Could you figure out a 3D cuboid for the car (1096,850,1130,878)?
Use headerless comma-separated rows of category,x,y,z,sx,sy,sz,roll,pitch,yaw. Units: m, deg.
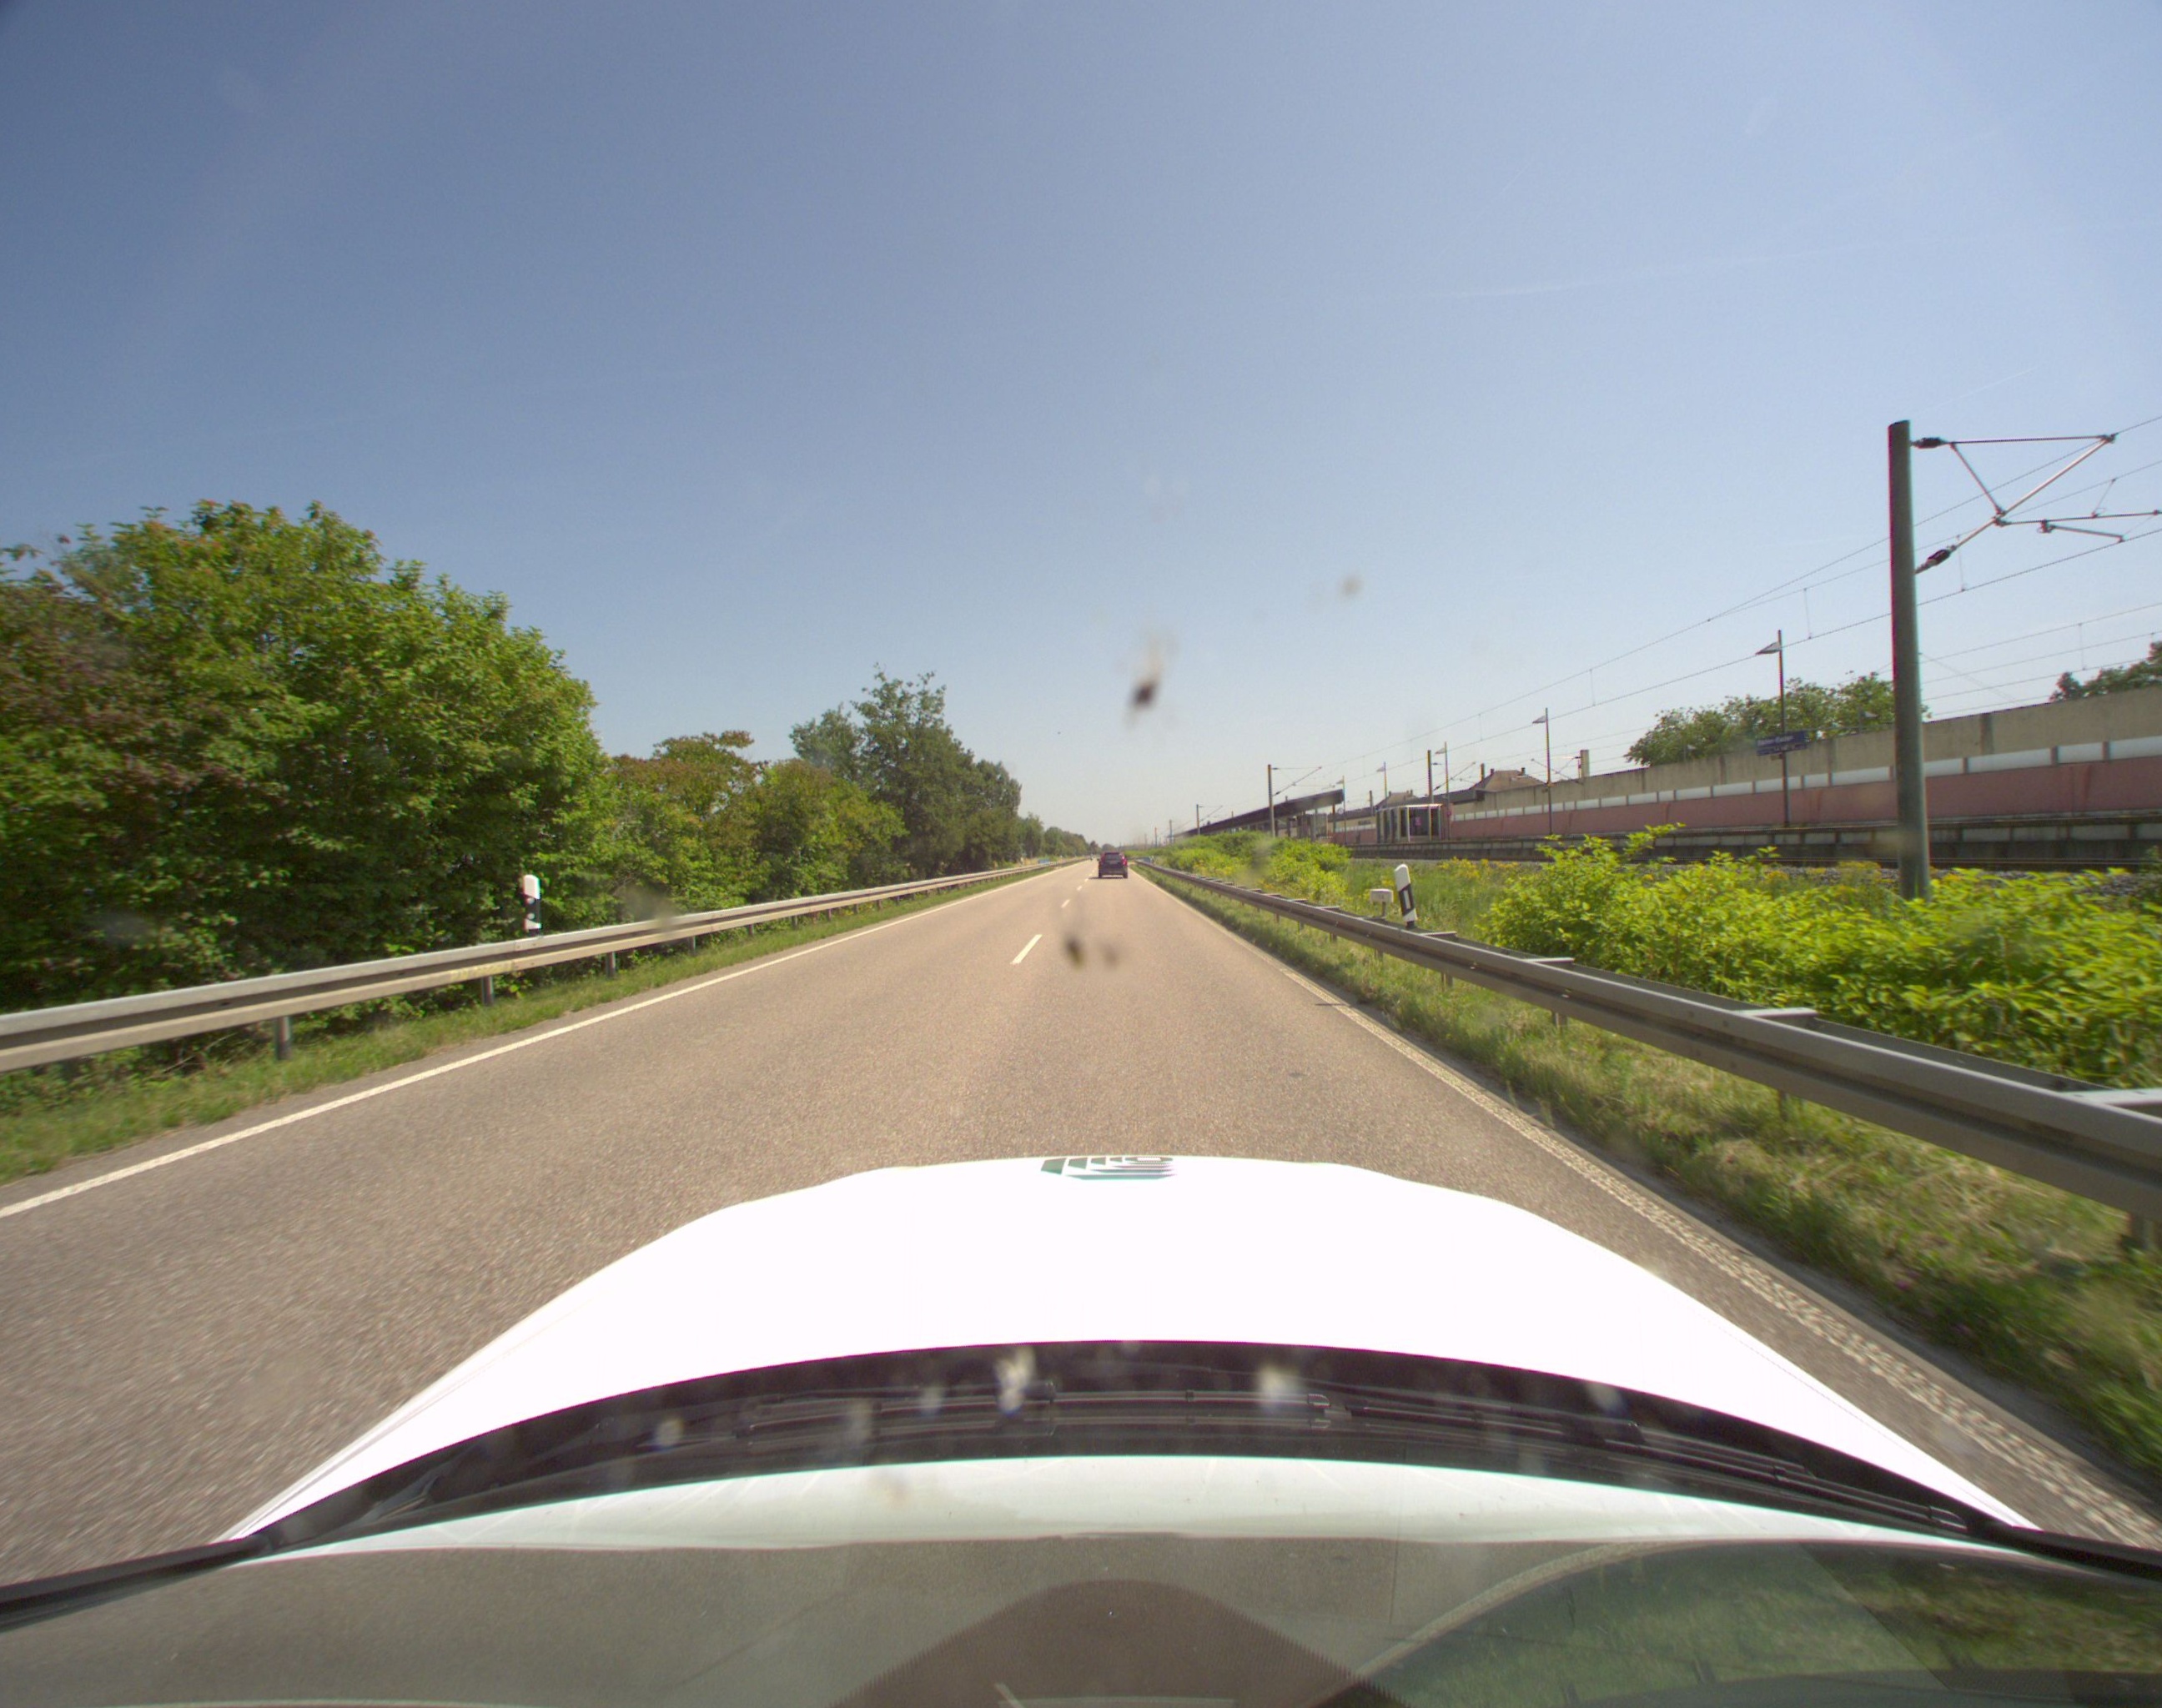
car,2.008,0.634,52.686,1.987,1.700,3.999,-1,0,-1
